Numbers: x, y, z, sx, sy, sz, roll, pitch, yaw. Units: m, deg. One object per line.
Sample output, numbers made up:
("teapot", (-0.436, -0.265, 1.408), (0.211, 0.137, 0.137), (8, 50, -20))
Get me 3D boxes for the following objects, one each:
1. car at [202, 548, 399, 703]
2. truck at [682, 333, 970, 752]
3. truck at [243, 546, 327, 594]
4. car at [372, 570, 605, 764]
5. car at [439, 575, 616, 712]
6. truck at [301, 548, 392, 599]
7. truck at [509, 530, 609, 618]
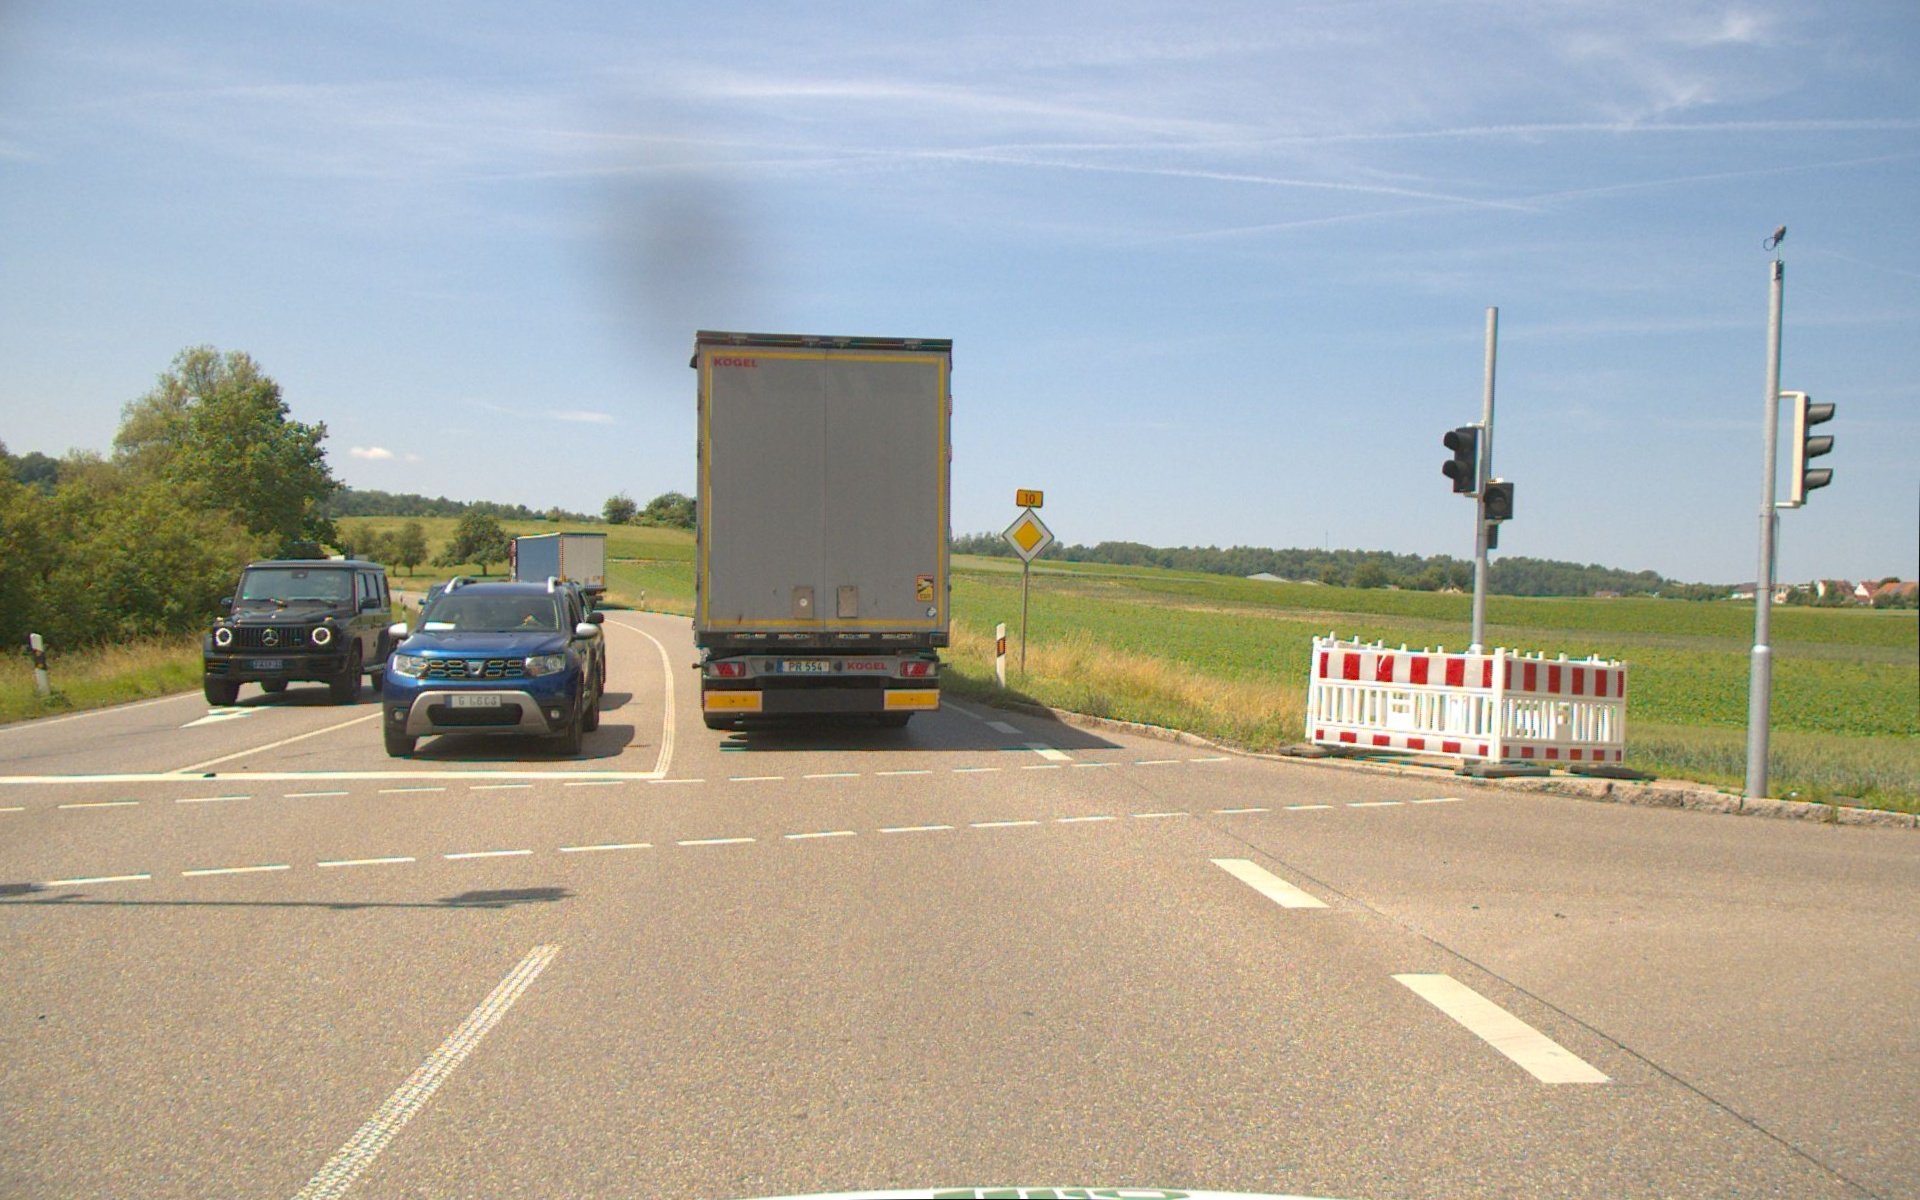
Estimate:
("car", (-9.599, 0.351, 24.492), (1.960, 2.041, 5.146), (1, 0, -14))
("truck", (-1.840, -0.551, 20.786), (2.754, 4.015, 9.576), (0, 0, -7))
("truck", (-66.115, -2.864, 161.798), (3.509, 4.315, 13.204), (3, -2, -41))
("car", (-4.565, 0.595, 16.544), (1.738, 1.687, 3.992), (0, 0, -9))
("car", (-5.786, 0.549, 22.554), (1.737, 1.687, 3.994), (0, 0, -6))
("truck", (-55.605, -2.321, 149.608), (3.614, 4.202, 12.910), (3, -2, -39))
("truck", (-23.340, -1.523, 95.500), (2.921, 4.664, 16.199), (1, 1, -23))
